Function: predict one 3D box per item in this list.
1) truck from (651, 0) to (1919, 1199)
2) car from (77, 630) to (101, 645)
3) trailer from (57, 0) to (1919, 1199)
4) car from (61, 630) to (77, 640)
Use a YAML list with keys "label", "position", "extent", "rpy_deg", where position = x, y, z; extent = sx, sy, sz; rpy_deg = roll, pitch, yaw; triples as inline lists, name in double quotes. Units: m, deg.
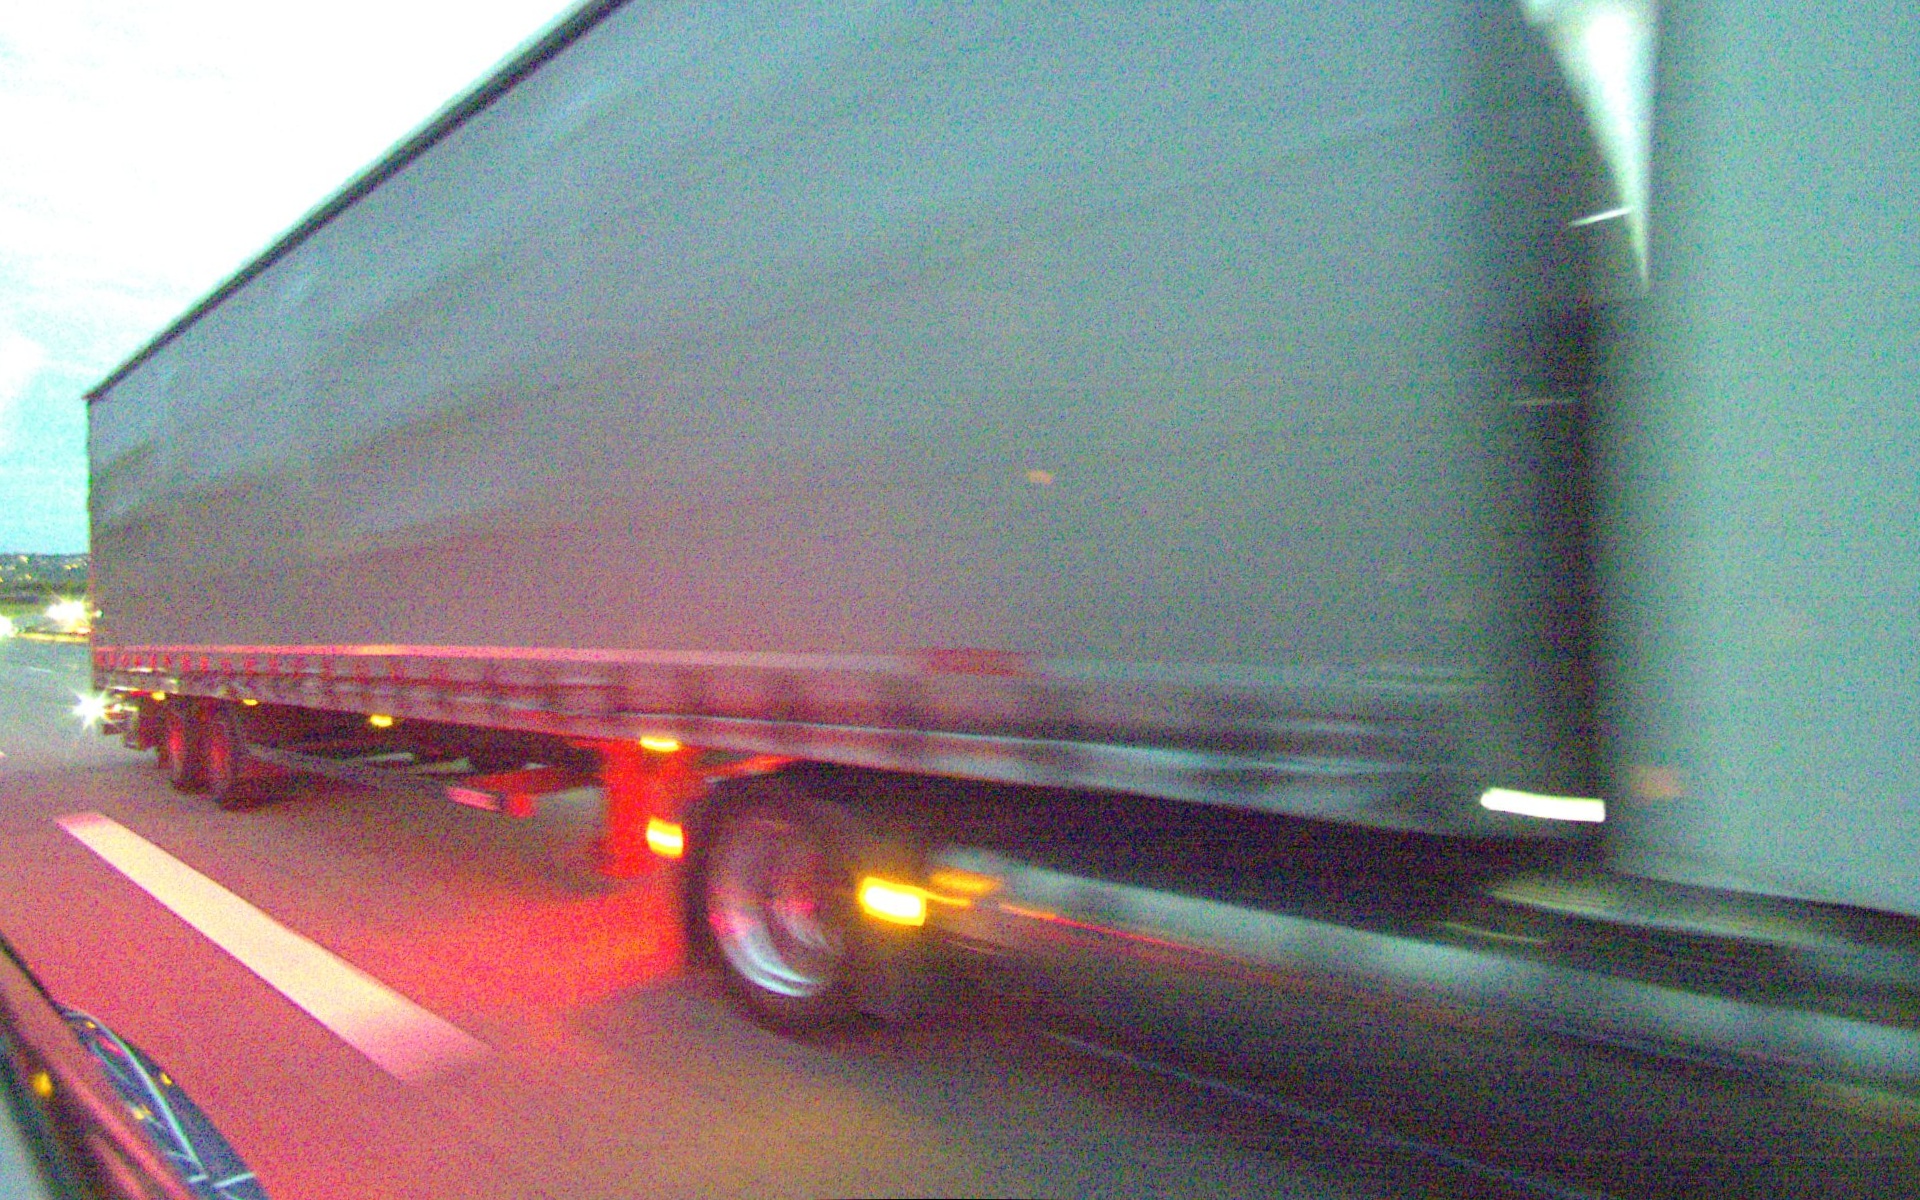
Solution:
- label: "truck"
  position: [2.138, -0.572, 2.693]
  extent: [6.149, 3.931, 2.751]
  rpy_deg: [-2, -1, 40]
- label: "car"
  position: [-119.347, 5.152, 138.646]
  extent: [4.488, 2.029, 1.972]
  rpy_deg: [-2, -1, 43]
- label: "trailer"
  position: [-3.122, -0.390, 7.105]
  extent: [14.807, 3.945, 2.746]
  rpy_deg: [-2, -1, 40]
- label: "car"
  position: [-172.889, 6.733, 196.346]
  extent: [4.002, 1.729, 1.971]
  rpy_deg: [-1, 1, 45]
